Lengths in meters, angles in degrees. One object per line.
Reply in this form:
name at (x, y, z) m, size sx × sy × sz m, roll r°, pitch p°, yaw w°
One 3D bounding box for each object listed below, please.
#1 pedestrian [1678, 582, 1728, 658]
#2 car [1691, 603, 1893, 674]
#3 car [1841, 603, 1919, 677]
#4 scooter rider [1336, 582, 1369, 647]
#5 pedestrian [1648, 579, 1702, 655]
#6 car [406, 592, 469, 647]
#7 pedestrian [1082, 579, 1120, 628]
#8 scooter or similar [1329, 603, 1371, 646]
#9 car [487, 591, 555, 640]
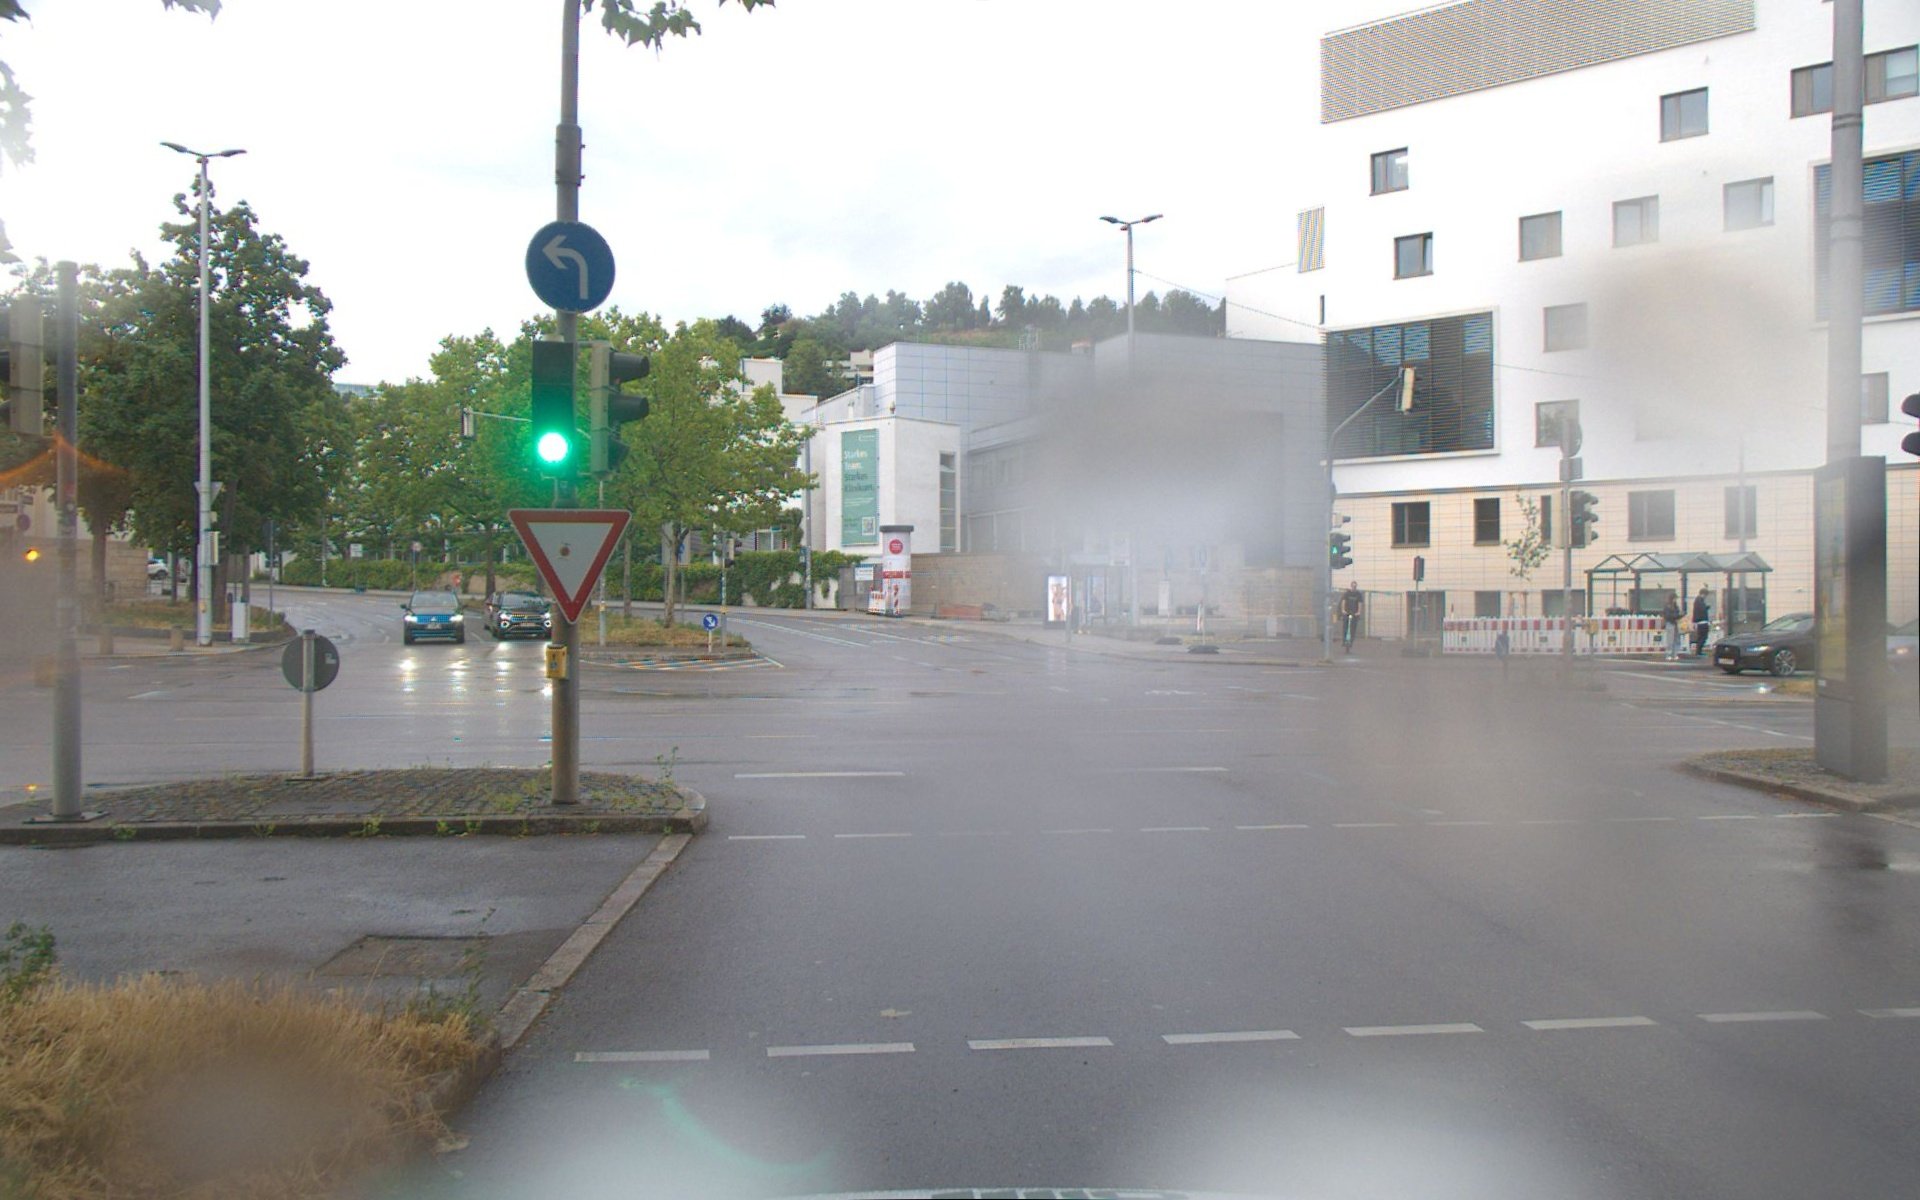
pedestrian at (19.811, 0.536, 44.120) m, size 0.980 × 1.969 × 0.955 m, roll 1°, pitch -2°, yaw 9°
car at (18.863, 0.871, 37.551) m, size 3.921 × 1.469 × 1.790 m, roll 2°, pitch 0°, yaw -16°
car at (20.936, 0.870, 34.981) m, size 3.921 × 1.469 × 1.790 m, roll 2°, pitch 0°, yaw -16°
scooter rider at (11.773, 0.427, 49.635) m, size 0.713 × 1.916 × 0.628 m, roll 2°, pitch -2°, yaw -21°
pedestrian at (18.108, 0.442, 41.885) m, size 0.934 × 1.872 × 0.821 m, roll 2°, pitch -2°, yaw -12°
car at (-16.682, 0.579, 52.812) m, size 1.839 × 1.592 × 4.255 m, roll -1°, pitch 1°, yaw -18°
pedestrian at (5.175, 0.151, 60.789) m, size 1.232 × 1.749 × 1.016 m, roll 1°, pitch -2°, yaw -2°
scooter or similar at (11.695, 0.736, 49.635) m, size 0.582 × 1.260 × 1.305 m, roll 2°, pitch -2°, yaw -22°
car at (-15.109, 0.496, 56.811) m, size 1.764 × 1.612 × 3.973 m, roll 0°, pitch 0°, yaw -22°
